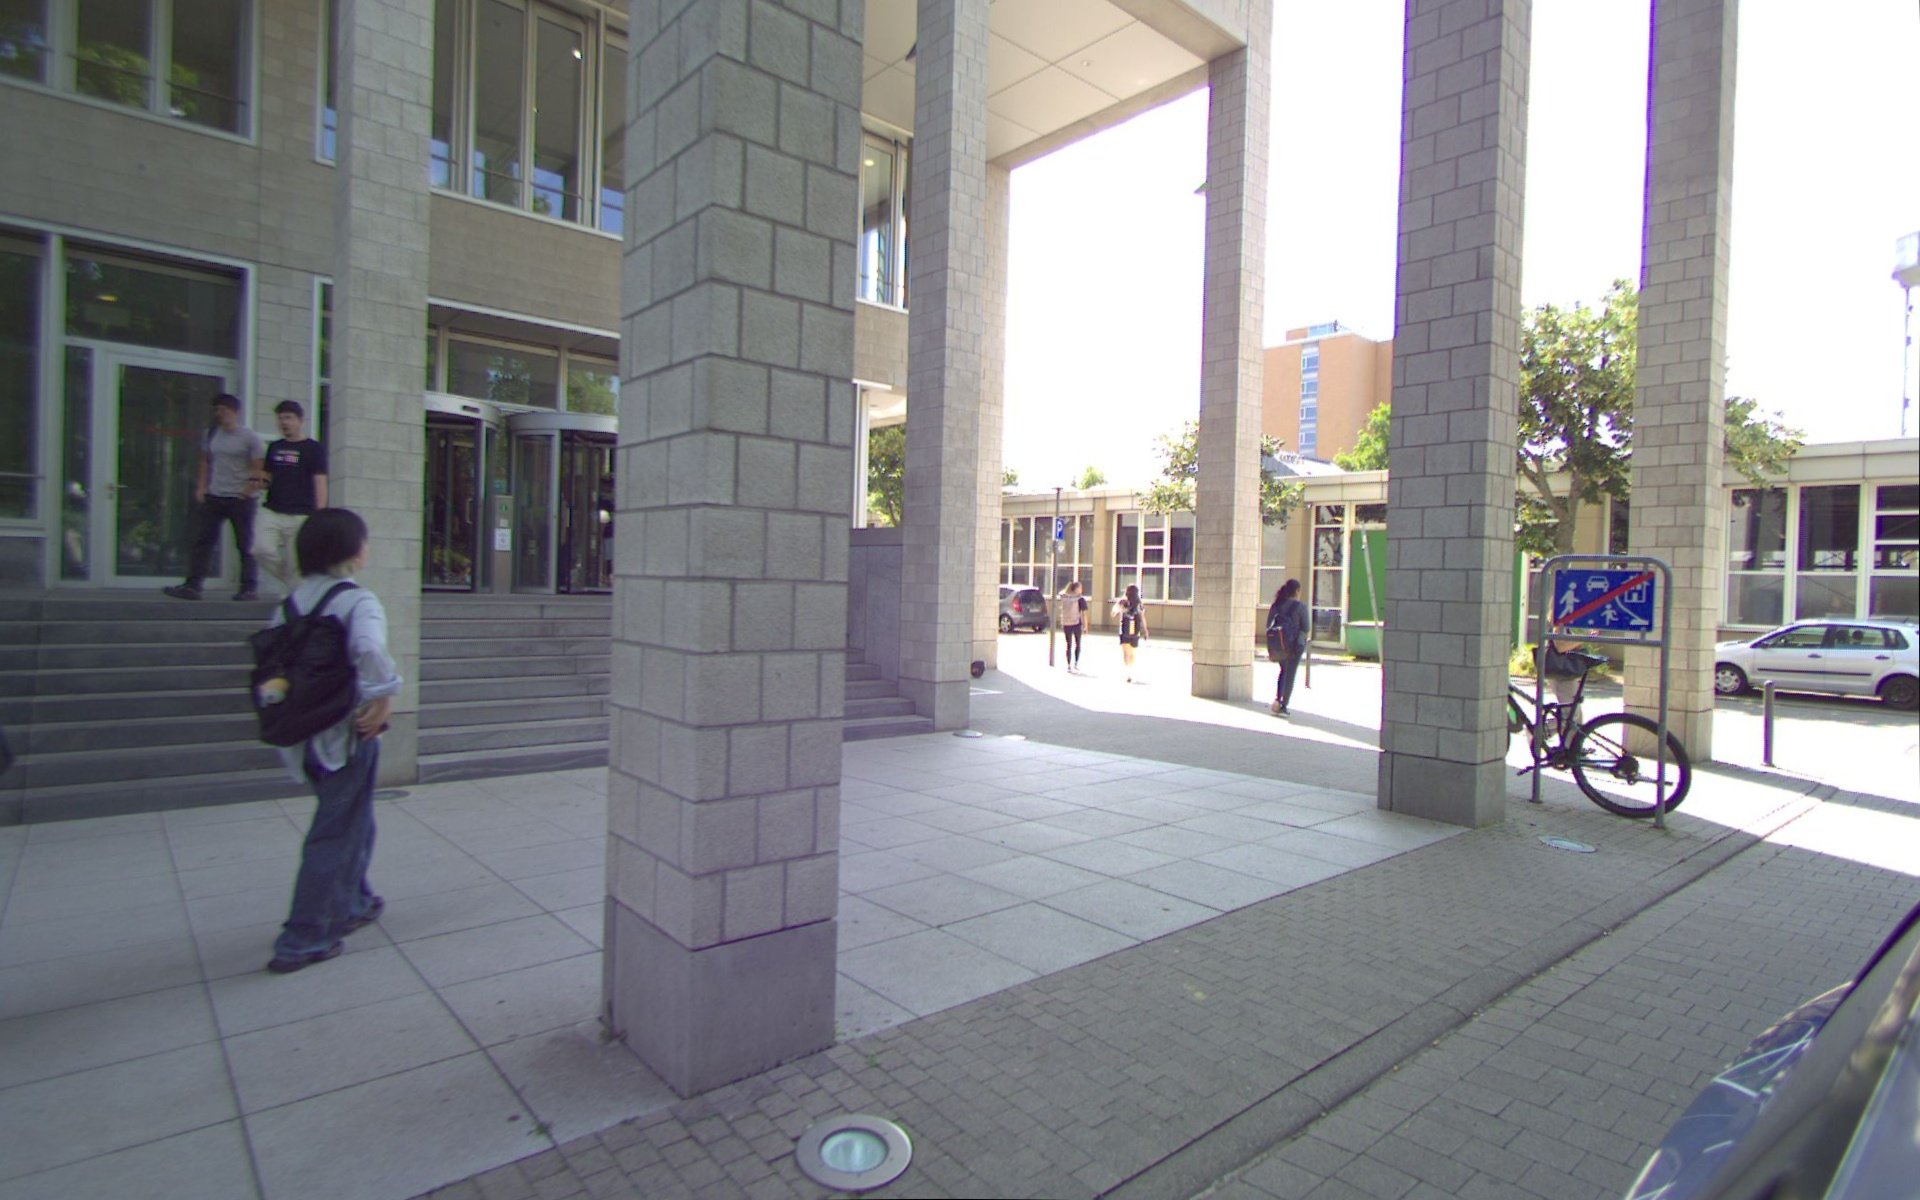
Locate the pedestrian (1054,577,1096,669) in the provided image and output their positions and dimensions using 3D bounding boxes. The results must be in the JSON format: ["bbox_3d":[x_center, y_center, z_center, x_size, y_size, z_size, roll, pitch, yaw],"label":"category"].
[{"bbox_3d":[2.079,0.396,18.417,0.578,1.619,0.827,2,0,-4],"label":"pedestrian"}]

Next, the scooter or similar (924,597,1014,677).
[{"bbox_3d":[0.143,0.598,16.610,1.408,1.239,0.357,2,0,16],"label":"scooter or similar"}]

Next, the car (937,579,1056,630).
[{"bbox_3d":[1.225,0.111,35.408,1.820,1.597,4.128,-1,2,-42],"label":"car"}]

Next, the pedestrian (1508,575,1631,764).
[{"bbox_3d":[5.794,0.621,9.624,0.878,1.676,0.693,2,0,39],"label":"pedestrian"}]

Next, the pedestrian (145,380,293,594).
[{"bbox_3d":[-6.213,-0.905,8.536,0.688,1.676,0.884,2,0,-14],"label":"pedestrian"}]

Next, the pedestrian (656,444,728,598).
[{"bbox_3d":[-3.318,-0.952,12.512,0.579,1.825,0.684,2,0,-39],"label":"pedestrian"}]

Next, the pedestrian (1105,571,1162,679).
[{"bbox_3d":[2.901,0.408,17.019,0.765,1.746,0.860,2,0,1],"label":"pedestrian"}]

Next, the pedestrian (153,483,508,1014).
[{"bbox_3d":[-2.268,0.466,3.741,0.665,1.691,0.895,0,0,16],"label":"pedestrian"}]

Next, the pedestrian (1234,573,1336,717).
[{"bbox_3d":[3.820,0.499,11.884,0.817,1.594,0.867,2,0,42],"label":"pedestrian"}]

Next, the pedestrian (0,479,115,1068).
[{"bbox_3d":[-3.054,0.473,2.811,0.795,1.637,0.739,2,1,10],"label":"pedestrian"}]

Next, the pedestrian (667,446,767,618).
[{"bbox_3d":[-2.596,-0.697,10.787,0.863,1.746,0.634,2,0,44],"label":"pedestrian"}]

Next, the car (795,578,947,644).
[{"bbox_3d":[-2.375,0.241,26.210,1.820,1.494,4.128,1,1,-42],"label":"car"}]

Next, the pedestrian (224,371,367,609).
[{"bbox_3d":[-5.450,-0.859,8.354,0.688,1.826,0.884,2,0,-14],"label":"pedestrian"}]

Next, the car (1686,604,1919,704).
[{"bbox_3d":[15.657,0.909,18.359,1.625,1.494,3.774,-2,3,-41],"label":"car"}]

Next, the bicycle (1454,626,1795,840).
[{"bbox_3d":[4.614,0.847,7.143,1.882,1.178,0.595,5,2,45],"label":"bicycle"}]

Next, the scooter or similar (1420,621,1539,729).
[{"bbox_3d":[6.127,0.859,11.983,0.436,1.165,1.158,2,1,-36],"label":"scooter or similar"}]
